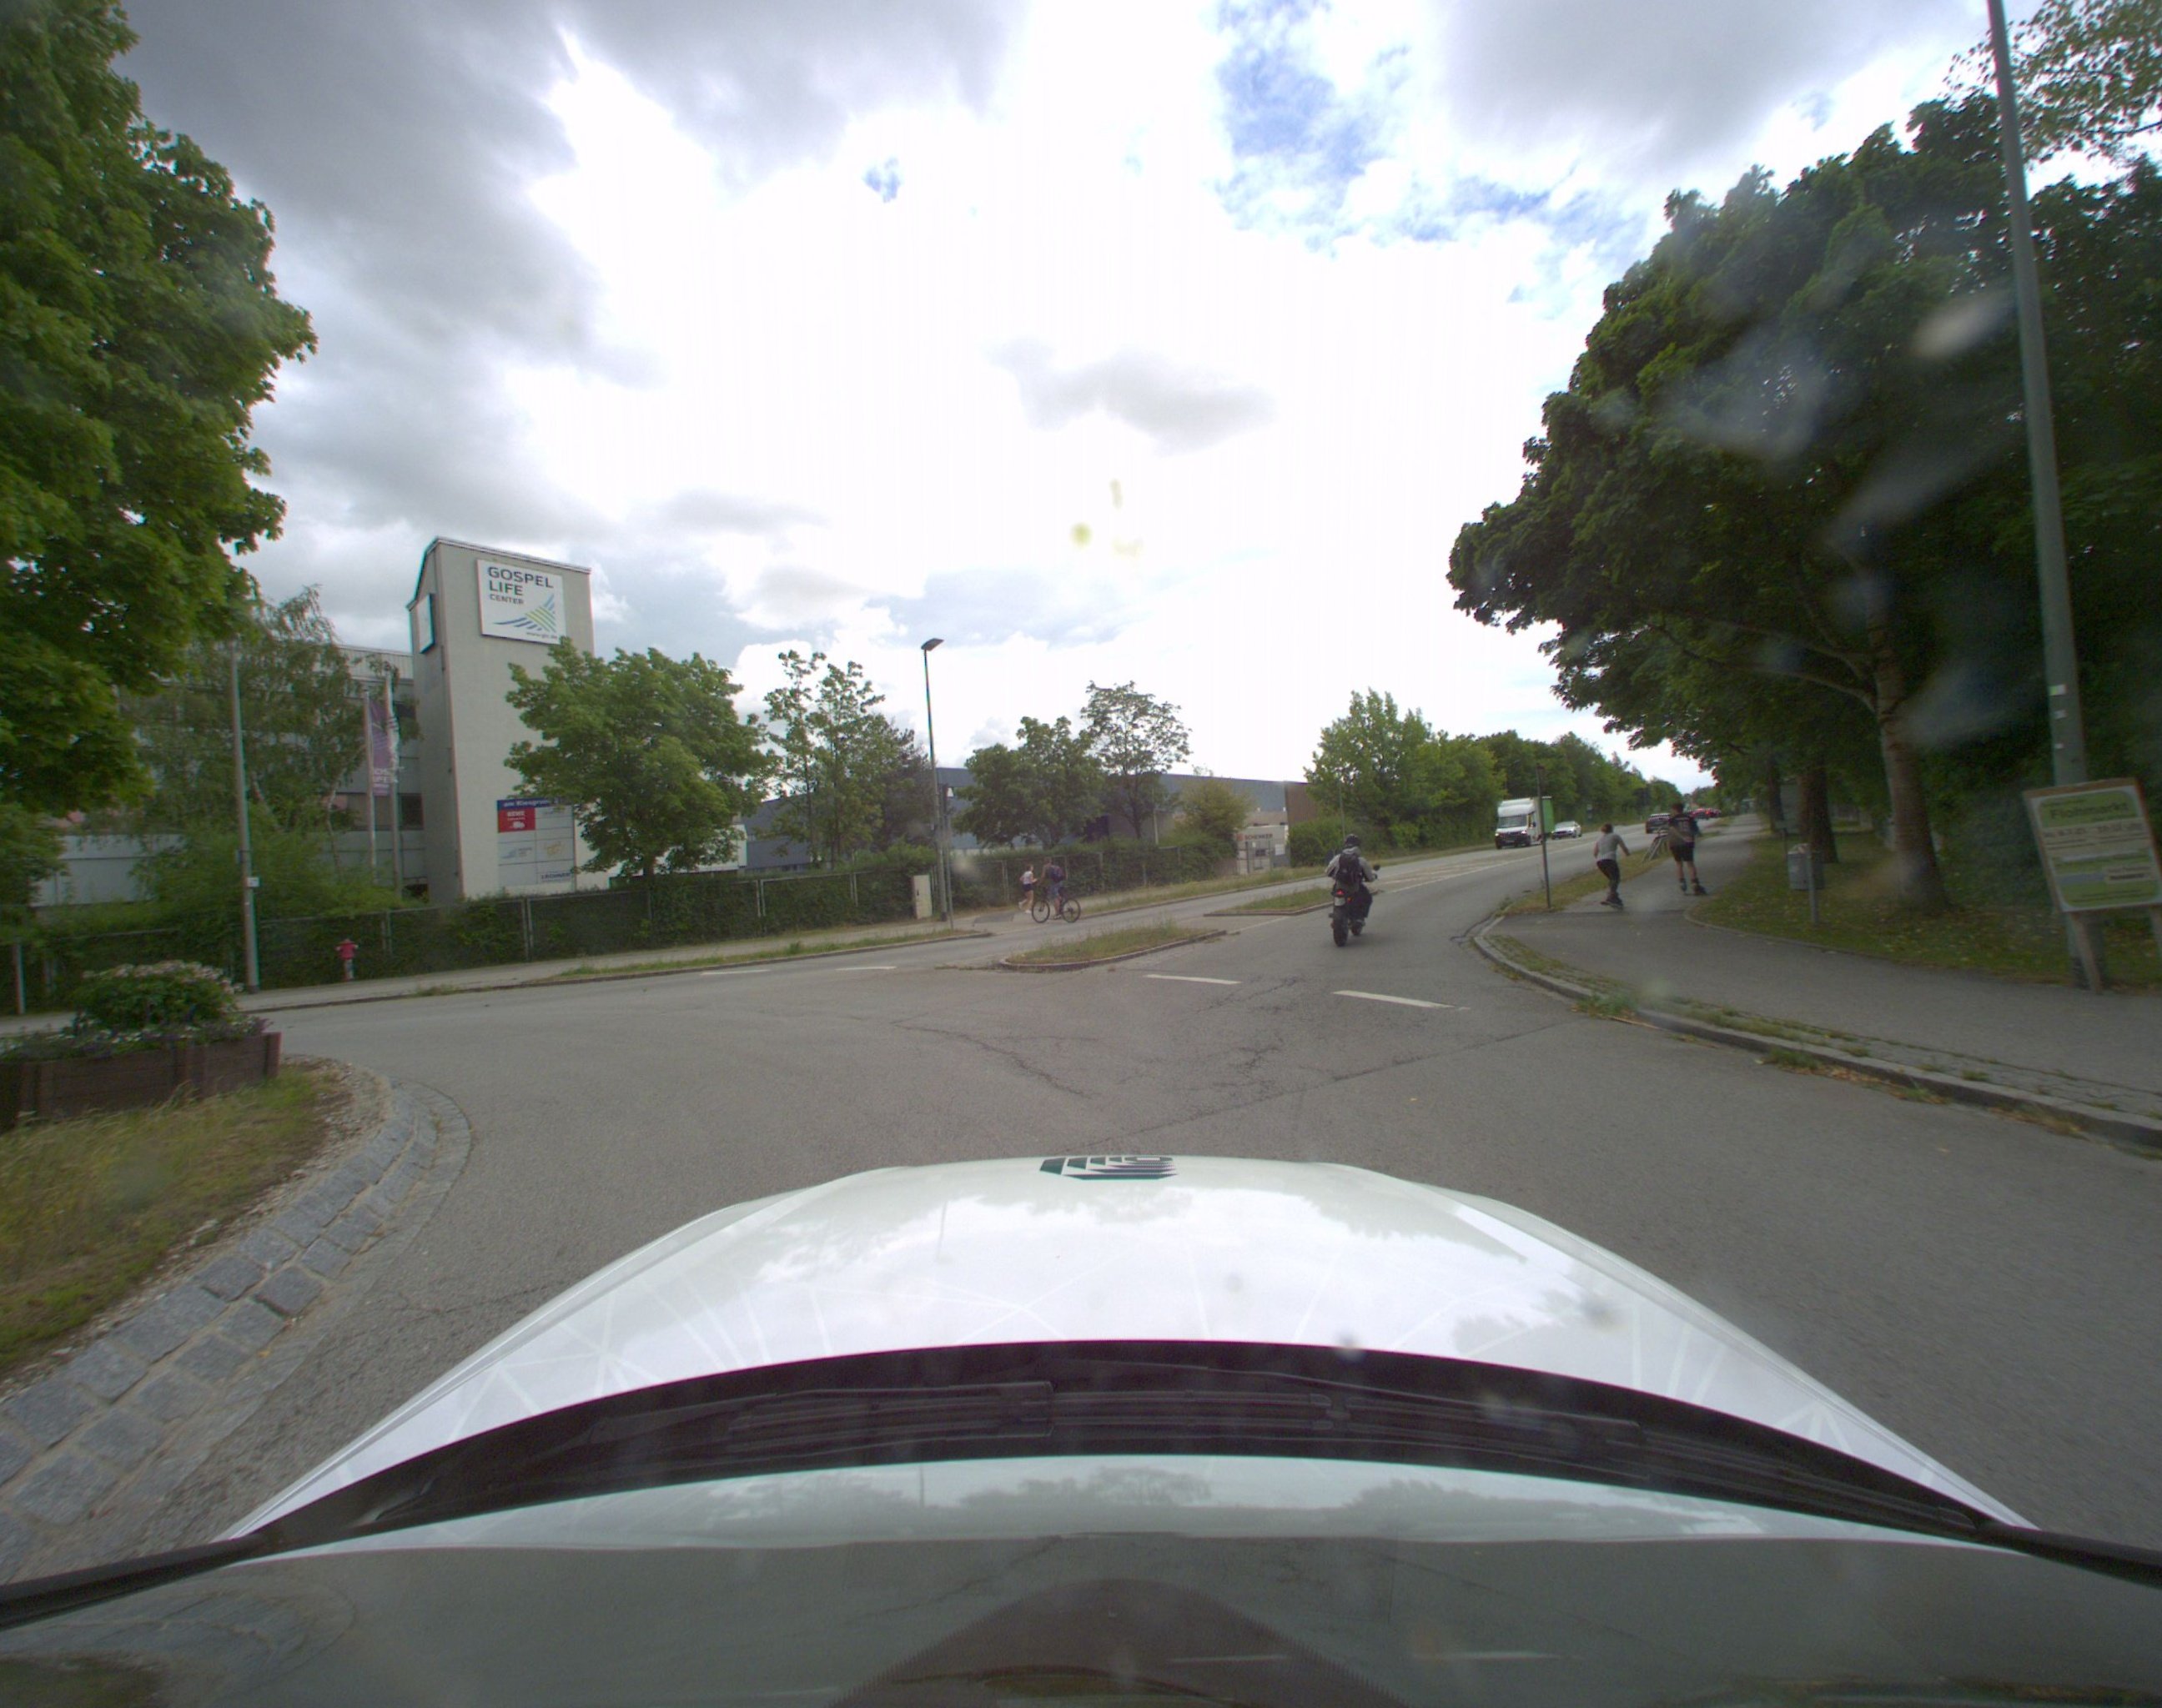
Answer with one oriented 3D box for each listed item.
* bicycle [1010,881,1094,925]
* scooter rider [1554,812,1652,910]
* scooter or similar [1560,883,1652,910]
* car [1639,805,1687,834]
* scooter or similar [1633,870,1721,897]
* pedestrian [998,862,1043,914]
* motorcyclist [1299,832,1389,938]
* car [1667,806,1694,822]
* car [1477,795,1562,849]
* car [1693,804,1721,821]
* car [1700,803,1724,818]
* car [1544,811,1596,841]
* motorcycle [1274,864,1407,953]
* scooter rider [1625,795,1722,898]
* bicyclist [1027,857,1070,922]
[{"bbox_3d":[-0.818,1.296,22.126,0.775,1.089,2.476,-3,1,-44],"label":"bicycle"},{"bbox_3d":[9.552,0.132,14.898,1.251,1.672,1.087,-4,0,-39],"label":"scooter rider"},{"bbox_3d":[9.594,0.777,14.889,1.234,0.364,1.087,-4,0,-40],"label":"scooter or similar"},{"bbox_3d":[45.669,-2.720,63.825,2.489,1.947,5.748,-5,-1,40],"label":"car"},{"bbox_3d":[11.869,0.596,16.217,1.135,0.380,1.211,-4,-2,-43],"label":"scooter or similar"},{"bbox_3d":[-1.901,1.069,25.733,1.051,1.544,0.778,-4,0,-41],"label":"pedestrian"},{"bbox_3d":[4.342,0.492,13.415,1.198,1.623,0.853,-4,0,-45],"label":"motorcyclist"},{"bbox_3d":[88.280,-5.901,119.901,2.489,1.947,5.747,-5,-1,42],"label":"car"},{"bbox_3d":[29.924,-2.192,55.382,3.140,3.204,7.681,-5,-1,42],"label":"car"},{"bbox_3d":[84.571,-5.654,109.959,2.489,1.947,5.747,-5,-1,42],"label":"car"},{"bbox_3d":[96.959,-6.730,125.106,2.489,1.947,5.747,-5,-1,42],"label":"car"},{"bbox_3d":[41.374,-2.412,68.799,2.653,2.173,6.037,-5,-1,41],"label":"car"},{"bbox_3d":[4.298,0.849,13.343,0.888,1.158,2.636,-5,0,45],"label":"motorcycle"},{"bbox_3d":[11.819,-0.154,16.243,1.135,1.910,1.211,-4,-2,-43],"label":"scooter rider"},{"bbox_3d":[-0.889,0.952,22.202,0.907,1.722,0.663,-2,1,44],"label":"bicyclist"}]
